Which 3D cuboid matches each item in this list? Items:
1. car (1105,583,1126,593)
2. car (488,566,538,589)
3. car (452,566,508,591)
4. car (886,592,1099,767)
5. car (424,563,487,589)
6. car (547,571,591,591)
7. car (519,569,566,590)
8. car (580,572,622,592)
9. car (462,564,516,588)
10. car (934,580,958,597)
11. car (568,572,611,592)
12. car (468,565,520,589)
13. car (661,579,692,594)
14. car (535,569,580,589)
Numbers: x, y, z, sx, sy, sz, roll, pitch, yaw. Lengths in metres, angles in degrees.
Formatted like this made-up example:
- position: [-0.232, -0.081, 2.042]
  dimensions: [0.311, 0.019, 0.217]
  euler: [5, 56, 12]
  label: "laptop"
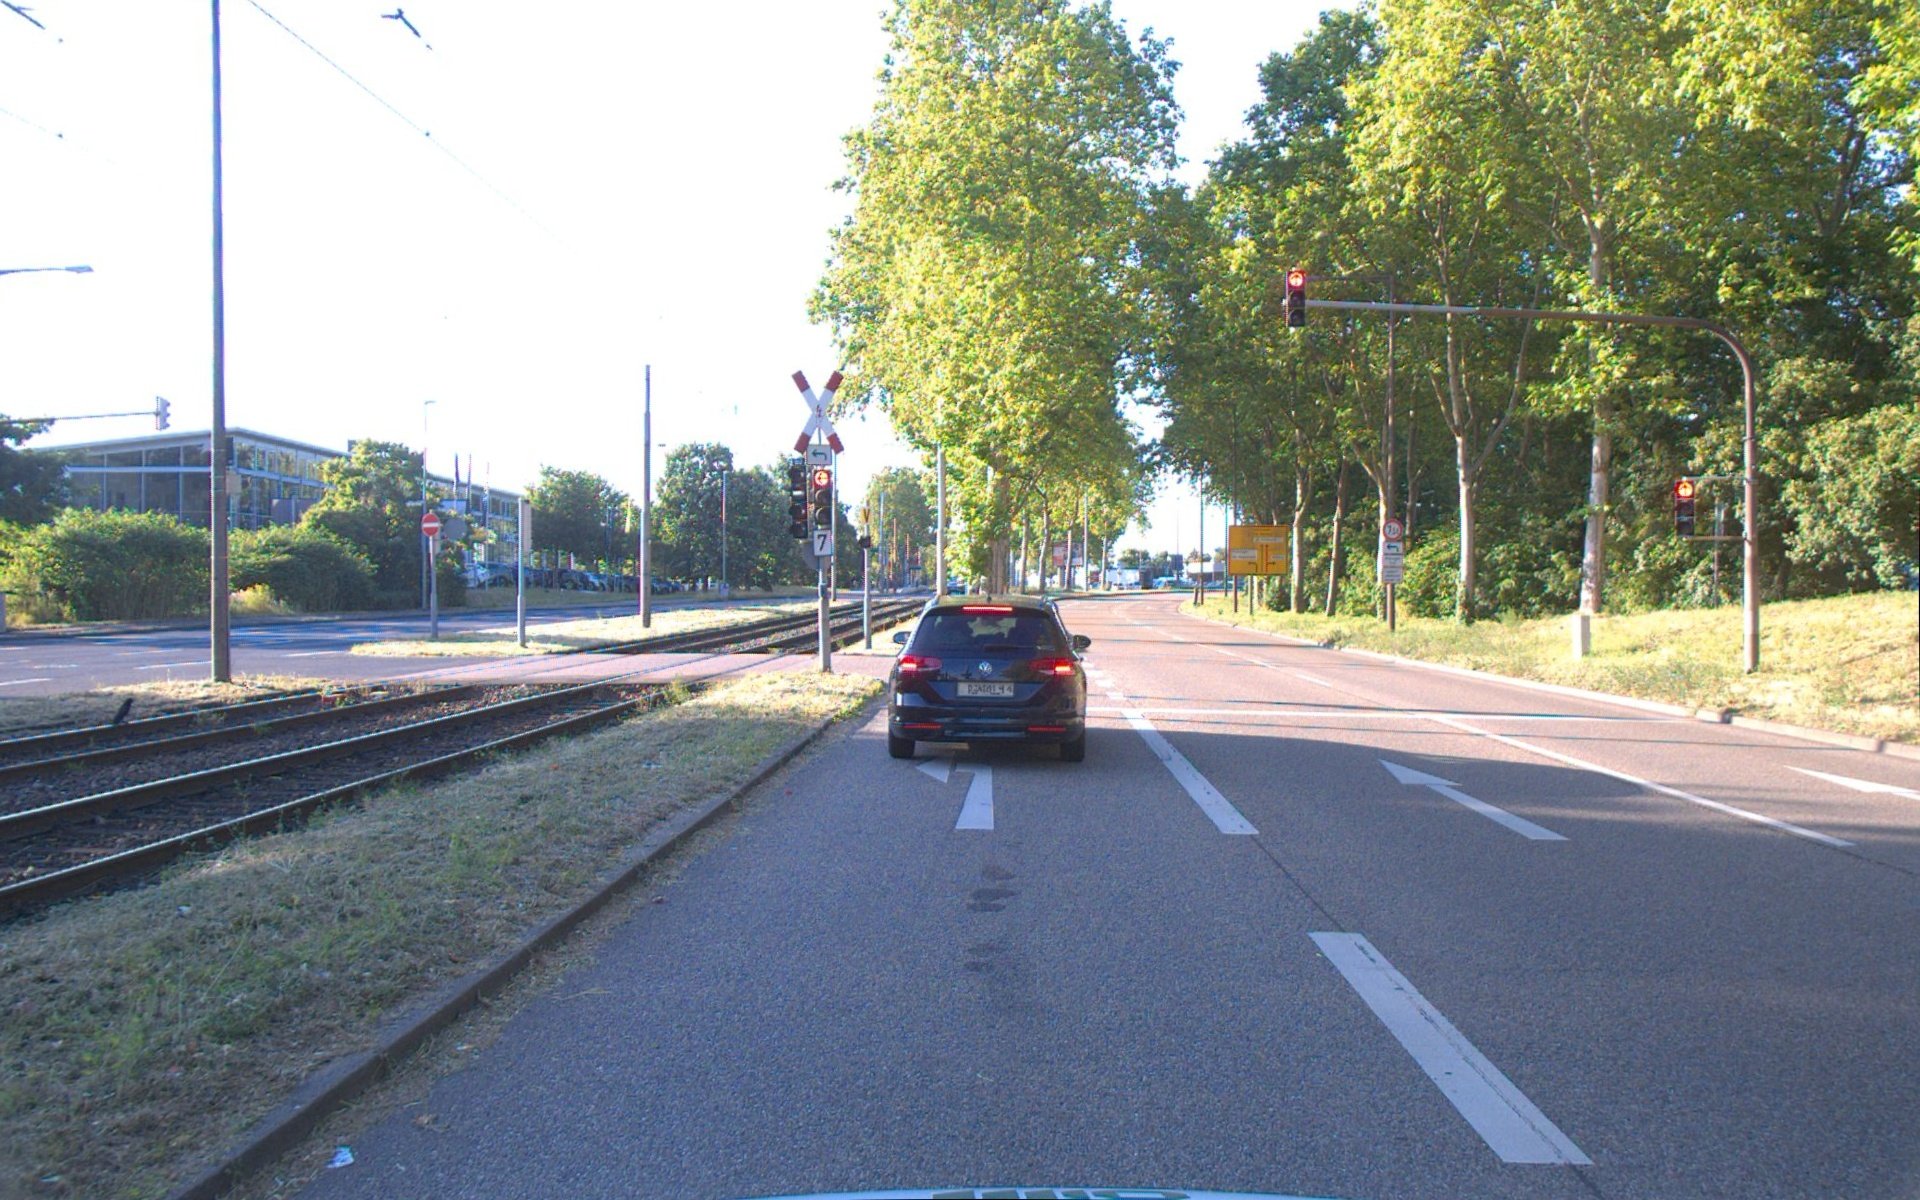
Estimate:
- position: [23.102, -1.754, 245.885]
  dimensions: [1.439, 1.516, 3.112]
  euler: [1, 0, -36]
  label: "car"
- position: [-31.255, -1.555, 115.649]
  dimensions: [3.078, 1.516, 1.455]
  euler: [1, 0, -2]
  label: "car"
- position: [-30.093, -1.330, 103.644]
  dimensions: [3.078, 1.516, 1.455]
  euler: [1, 0, -2]
  label: "car"
- position: [0.360, 0.648, 15.608]
  dimensions: [1.755, 1.427, 3.690]
  euler: [1, 0, 3]
  label: "car"
- position: [-28.154, -1.333, 92.375]
  dimensions: [3.078, 1.416, 1.455]
  euler: [1, 0, -2]
  label: "car"
- position: [-30.456, -1.494, 128.738]
  dimensions: [3.078, 1.516, 1.455]
  euler: [1, 0, -2]
  label: "car"
- position: [-30.176, -1.470, 119.583]
  dimensions: [3.078, 1.516, 1.455]
  euler: [1, 0, -2]
  label: "car"
- position: [-29.332, -1.469, 135.179]
  dimensions: [3.078, 1.516, 1.455]
  euler: [1, 0, -2]
  label: "car"
- position: [-30.731, -1.580, 107.907]
  dimensions: [3.078, 1.516, 1.455]
  euler: [1, 0, -2]
  label: "car"
- position: [-1.271, -1.007, 147.893]
  dimensions: [1.420, 1.516, 3.155]
  euler: [1, 0, 13]
  label: "car"
- position: [-29.529, -1.422, 131.892]
  dimensions: [3.078, 1.516, 1.455]
  euler: [1, 0, -2]
  label: "car"
- position: [-31.057, -1.528, 110.269]
  dimensions: [3.078, 1.516, 1.455]
  euler: [1, 0, -2]
  label: "car"
- position: [-30.401, -1.472, 177.223]
  dimensions: [3.078, 1.516, 1.455]
  euler: [1, 0, -2]
  label: "car"
- position: [-30.511, -1.583, 125.417]
  dimensions: [3.078, 1.516, 1.455]
  euler: [1, 0, -2]
  label: "car"
